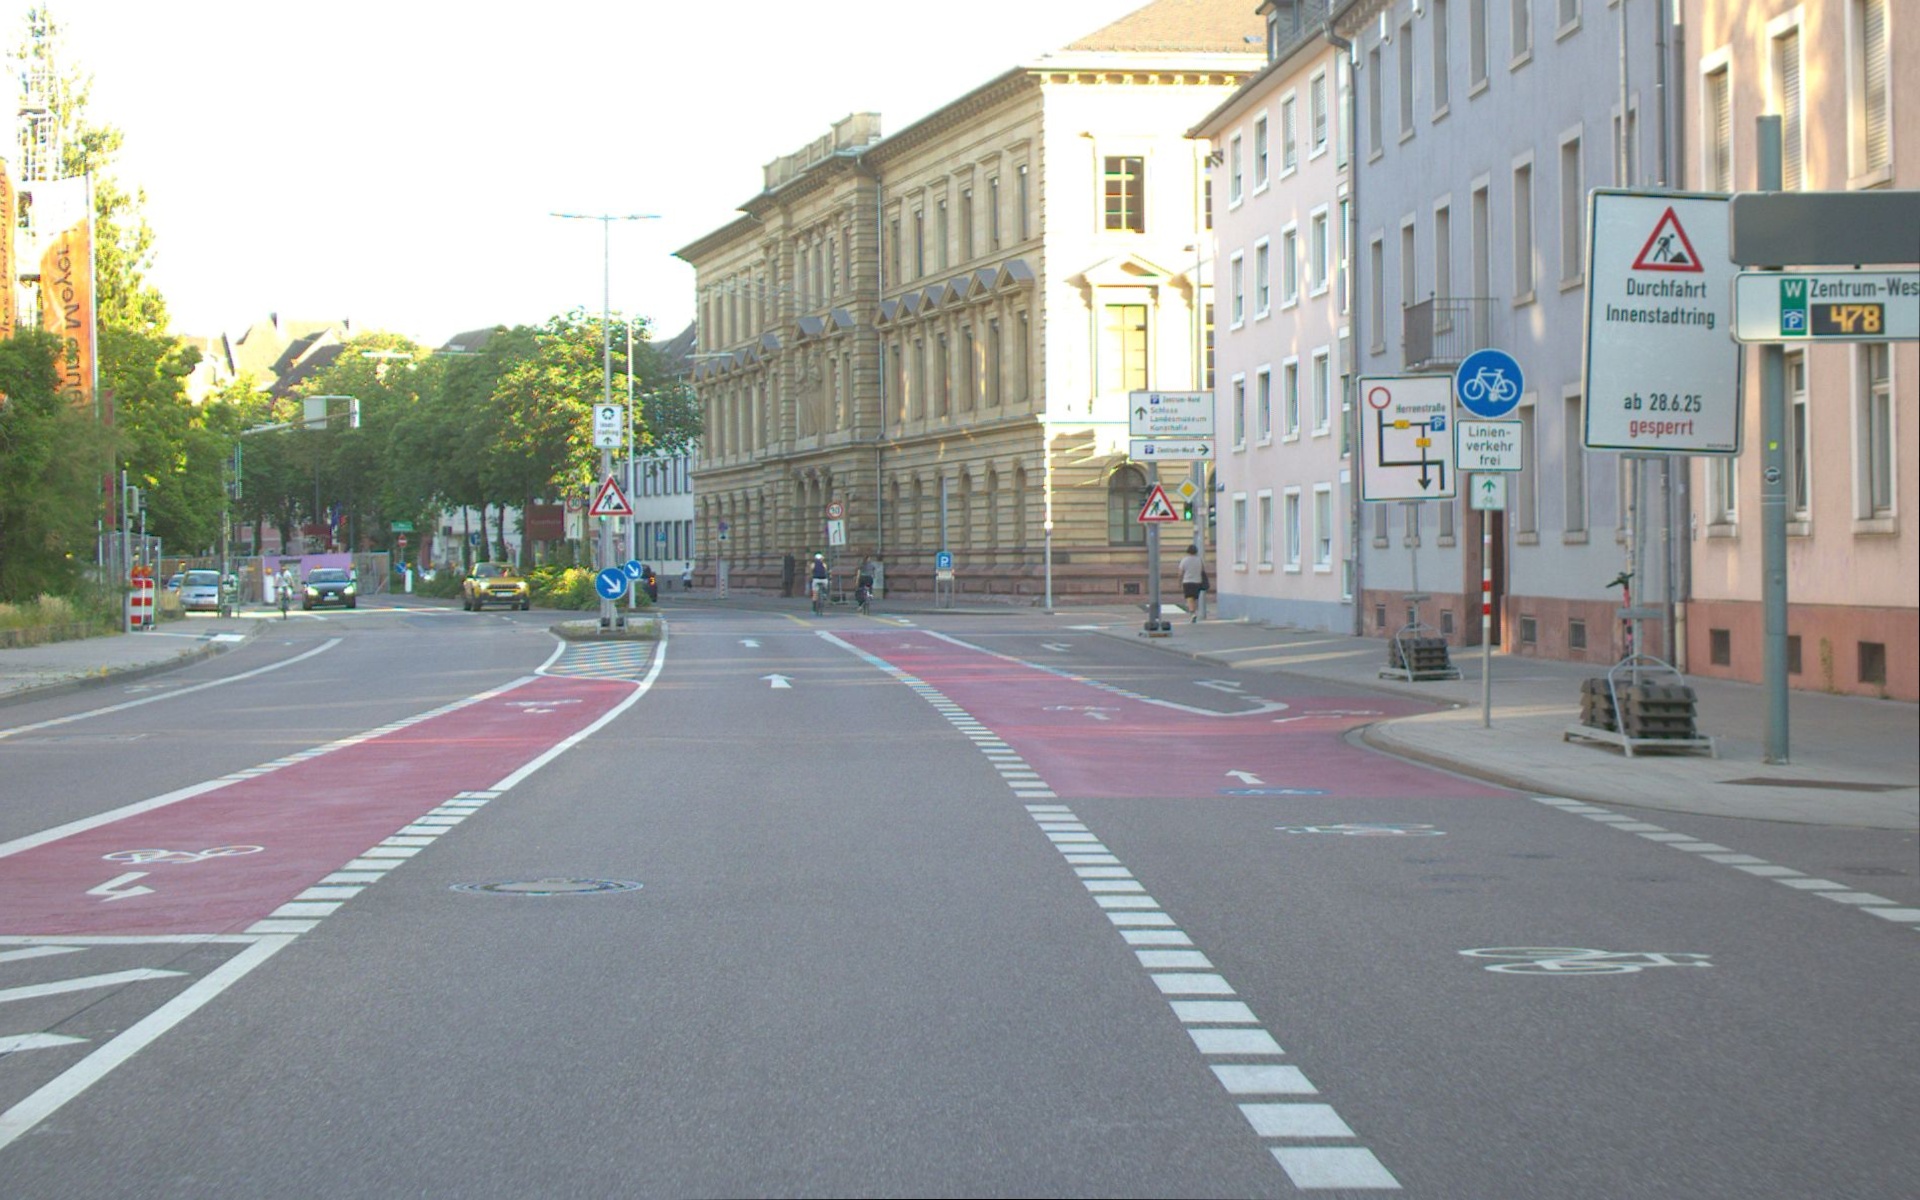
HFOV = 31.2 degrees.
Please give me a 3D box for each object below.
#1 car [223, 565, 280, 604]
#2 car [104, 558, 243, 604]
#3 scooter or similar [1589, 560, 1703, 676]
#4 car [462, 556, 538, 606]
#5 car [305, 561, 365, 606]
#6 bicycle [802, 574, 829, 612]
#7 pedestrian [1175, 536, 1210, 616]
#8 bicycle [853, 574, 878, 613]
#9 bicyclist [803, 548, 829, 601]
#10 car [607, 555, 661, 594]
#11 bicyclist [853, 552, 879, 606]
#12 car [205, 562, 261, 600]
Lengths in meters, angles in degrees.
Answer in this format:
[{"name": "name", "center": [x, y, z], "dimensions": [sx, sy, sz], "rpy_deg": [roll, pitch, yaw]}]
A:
[{"name": "car", "center": [-29.415, -0.652, 142.652], "dimensions": [1.993, 1.579, 4.001], "rpy_deg": [0, 1, -17]}, {"name": "car", "center": [-24.791, -0.623, 108.337], "dimensions": [3.994, 1.415, 1.997], "rpy_deg": [1, 1, 31]}, {"name": "scooter or similar", "center": [8.131, 0.196, 40.855], "dimensions": [0.629, 1.332, 2.401], "rpy_deg": [0, 1, -6]}, {"name": "car", "center": [-14.703, -0.622, 109.830], "dimensions": [1.993, 1.579, 4.001], "rpy_deg": [0, 1, -14]}, {"name": "car", "center": [-22.754, -0.619, 125.103], "dimensions": [1.993, 1.579, 4.001], "rpy_deg": [0, 1, -13]}, {"name": "bicycle", "center": [-4.013, -0.198, 95.403], "dimensions": [0.652, 1.012, 2.198], "rpy_deg": [2, 1, -1]}, {"name": "pedestrian", "center": [5.147, -0.528, 75.941], "dimensions": [0.762, 1.749, 0.844], "rpy_deg": [0, 1, 4]}, {"name": "bicycle", "center": [-2.618, -0.192, 95.519], "dimensions": [0.652, 1.012, 2.198], "rpy_deg": [2, 1, -1]}, {"name": "bicyclist", "center": [-3.990, -0.706, 95.345], "dimensions": [0.652, 1.441, 0.879], "rpy_deg": [2, 1, -1]}, {"name": "car", "center": [-12.887, -1.016, 135.875], "dimensions": [1.867, 1.505, 4.001], "rpy_deg": [1, 1, -9]}, {"name": "bicyclist", "center": [-2.609, -0.592, 95.516], "dimensions": [0.652, 1.470, 0.941], "rpy_deg": [2, 1, -1]}, {"name": "car", "center": [-31.081, -0.806, 146.914], "dimensions": [1.993, 1.579, 4.001], "rpy_deg": [0, 1, -17]}]
